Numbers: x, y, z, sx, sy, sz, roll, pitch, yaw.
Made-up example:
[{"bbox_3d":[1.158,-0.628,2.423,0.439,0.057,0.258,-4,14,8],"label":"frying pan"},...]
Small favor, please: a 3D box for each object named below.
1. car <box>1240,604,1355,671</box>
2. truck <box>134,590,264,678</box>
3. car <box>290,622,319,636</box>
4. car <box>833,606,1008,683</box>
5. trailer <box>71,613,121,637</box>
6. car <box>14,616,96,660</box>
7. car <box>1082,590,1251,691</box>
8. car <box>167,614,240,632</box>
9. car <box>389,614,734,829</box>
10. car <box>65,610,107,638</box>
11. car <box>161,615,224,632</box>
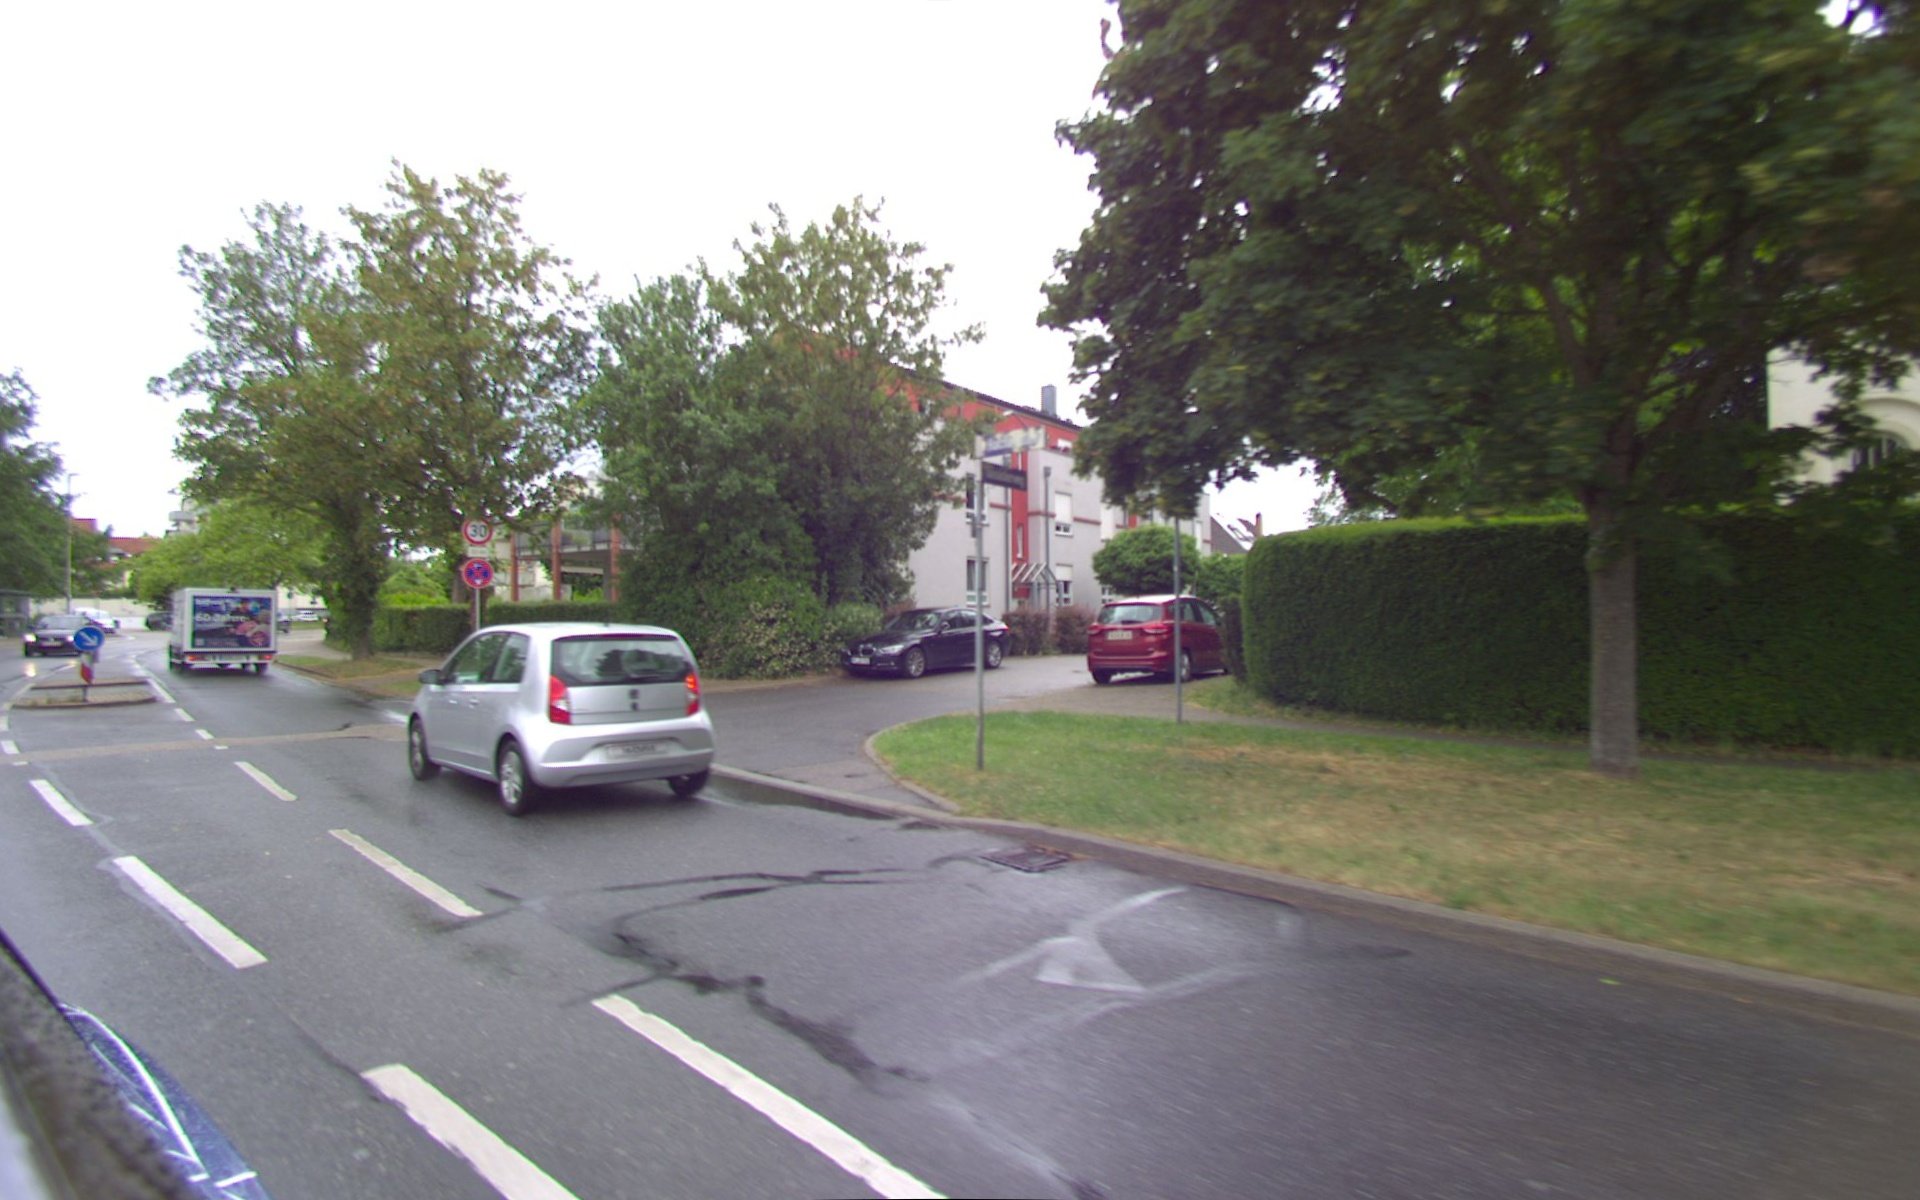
[{"bbox_3d":[8.516,0.907,25.372,1.689,1.425,3.983,-4,-1,33],"label":"car"},{"bbox_3d":[-21.676,1.012,28.701,2.190,2.221,6.470,3,-4,-43],"label":"truck"},{"bbox_3d":[-74.073,3.249,114.383,3.765,1.492,1.723,-1,-1,39],"label":"car"},{"bbox_3d":[-0.758,0.885,21.906,1.691,1.485,3.978,-1,0,37],"label":"car"},{"bbox_3d":[-57.496,1.642,67.323,4.425,1.554,1.972,-1,-1,42],"label":"trailer"},{"bbox_3d":[-33.199,1.353,37.229,1.811,1.460,4.010,-1,0,-36],"label":"car"},{"bbox_3d":[4.006,0.705,19.180,1.689,1.664,3.983,-4,-1,33],"label":"car"},{"bbox_3d":[-62.526,1.915,83.715,4.508,1.454,1.770,0,-1,-19],"label":"car"},{"bbox_3d":[-3.597,0.886,8.833,1.575,1.475,3.455,0,-1,-45],"label":"car"},{"bbox_3d":[-61.820,1.653,71.560,1.970,1.895,4.215,0,-1,-44],"label":"car"},{"bbox_3d":[-65.133,1.978,85.943,3.953,1.454,1.770,0,-1,-19],"label":"car"}]
